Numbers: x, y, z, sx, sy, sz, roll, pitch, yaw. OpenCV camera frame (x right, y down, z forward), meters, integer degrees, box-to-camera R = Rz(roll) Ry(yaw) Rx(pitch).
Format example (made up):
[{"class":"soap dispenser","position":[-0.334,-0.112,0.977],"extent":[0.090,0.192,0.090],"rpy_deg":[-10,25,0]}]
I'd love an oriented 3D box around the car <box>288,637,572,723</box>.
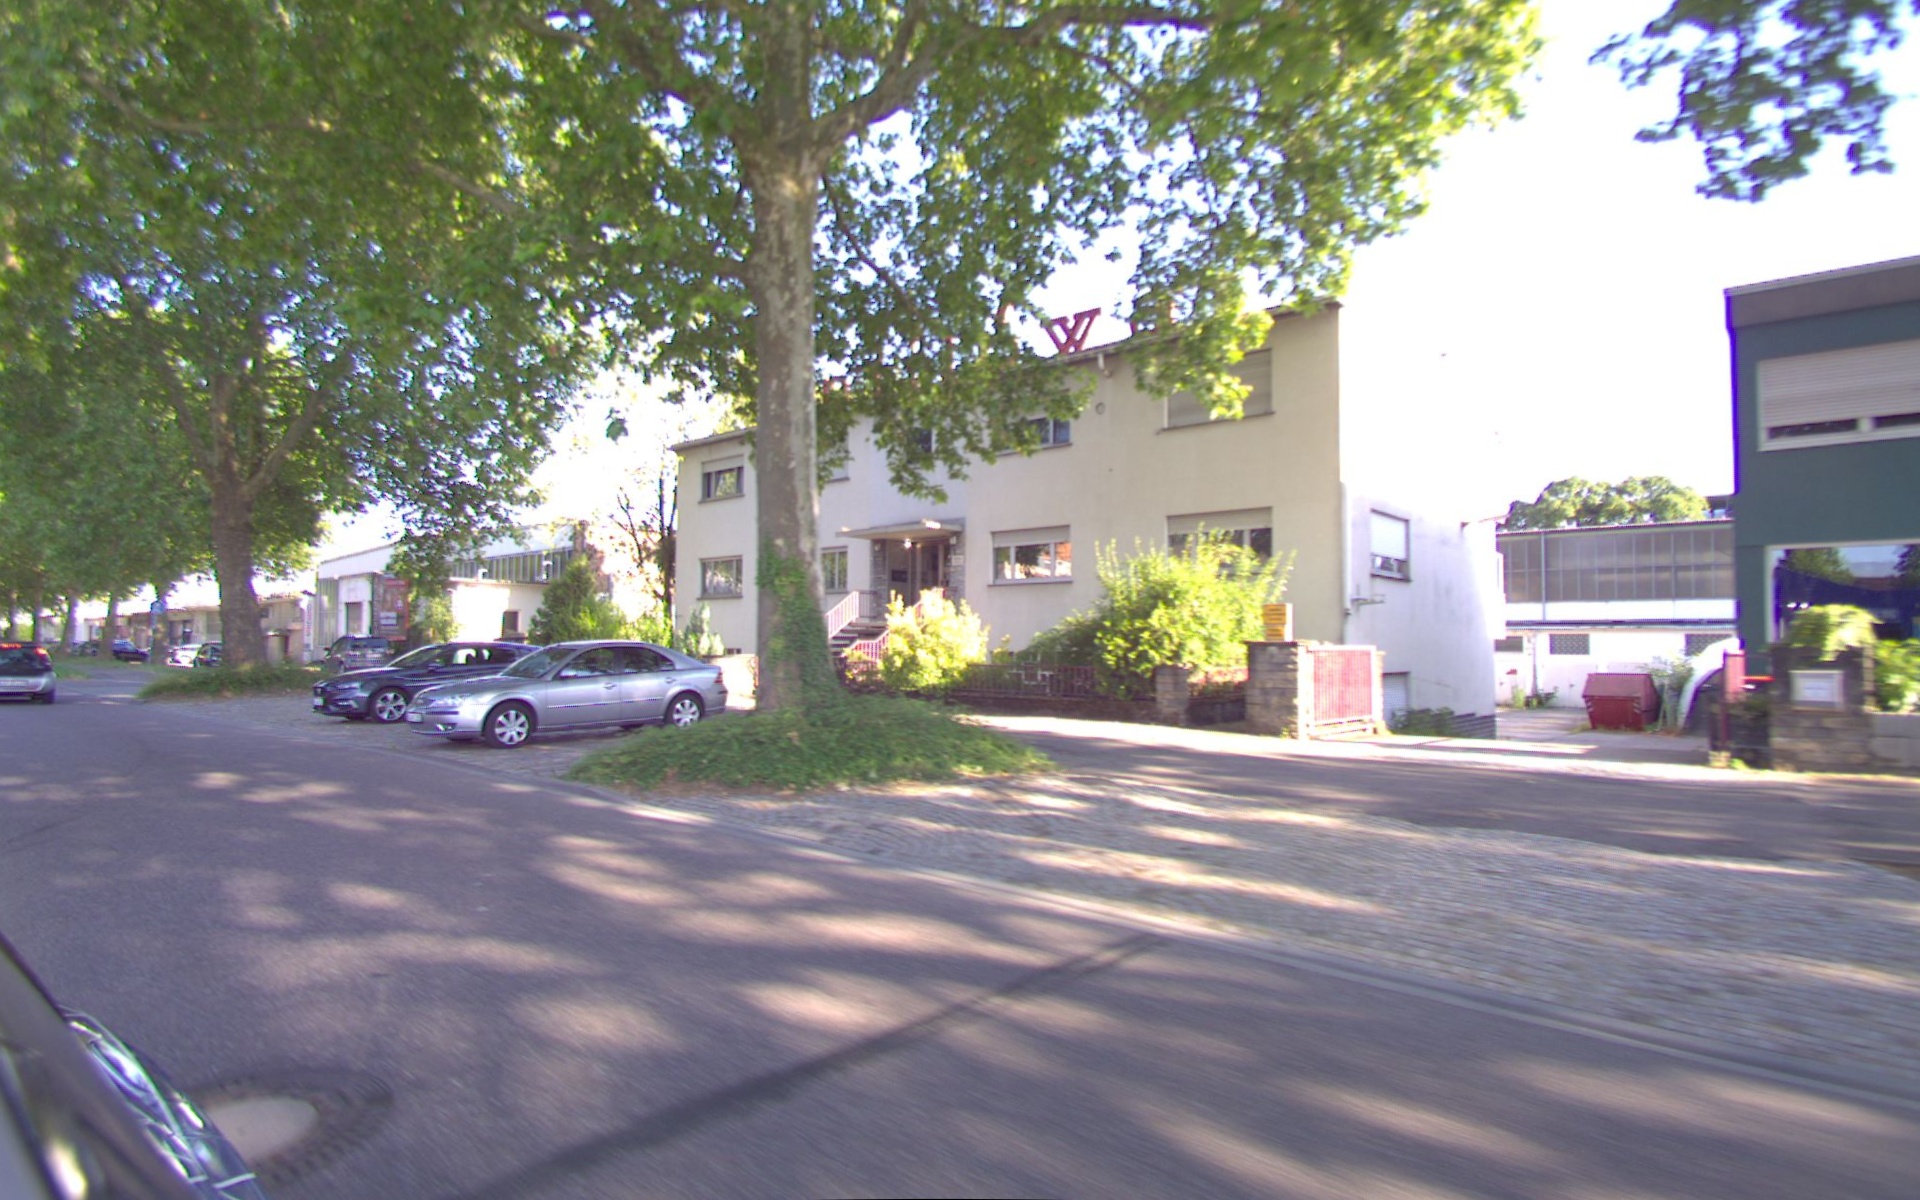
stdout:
[{"class":"car","position":[-9.860,1.425,19.110],"extent":[1.998,1.433,4.310],"rpy_deg":[-2,-3,39]}]

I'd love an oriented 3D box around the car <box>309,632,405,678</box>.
[{"class":"car","position":[-22.434,1.989,37.584],"extent":[4.274,1.588,1.971],"rpy_deg":[-1,-2,44]}]

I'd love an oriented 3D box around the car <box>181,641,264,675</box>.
[{"class":"car","position":[-34.352,2.696,47.123],"extent":[3.915,1.380,1.975],"rpy_deg":[-1,-7,38]}]

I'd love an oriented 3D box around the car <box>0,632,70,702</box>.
[{"class":"car","position":[-22.957,1.568,24.321],"extent":[3.801,1.583,1.819],"rpy_deg":[-1,-5,42]}]

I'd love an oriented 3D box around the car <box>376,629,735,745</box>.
[{"class":"car","position":[-5.806,1.190,15.021],"extent":[1.999,1.433,4.552],"rpy_deg":[-3,-4,41]}]

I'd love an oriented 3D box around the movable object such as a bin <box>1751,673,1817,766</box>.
[{"class":"movable object such as a bin","position":[10.823,1.546,13.291],"extent":[0.636,1.108,0.781],"rpy_deg":[-1,-2,41]}]

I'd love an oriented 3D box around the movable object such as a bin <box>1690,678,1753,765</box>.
[{"class":"movable object such as a bin","position":[10.613,1.670,14.103],"extent":[0.636,1.108,0.781],"rpy_deg":[-1,-2,41]}]
